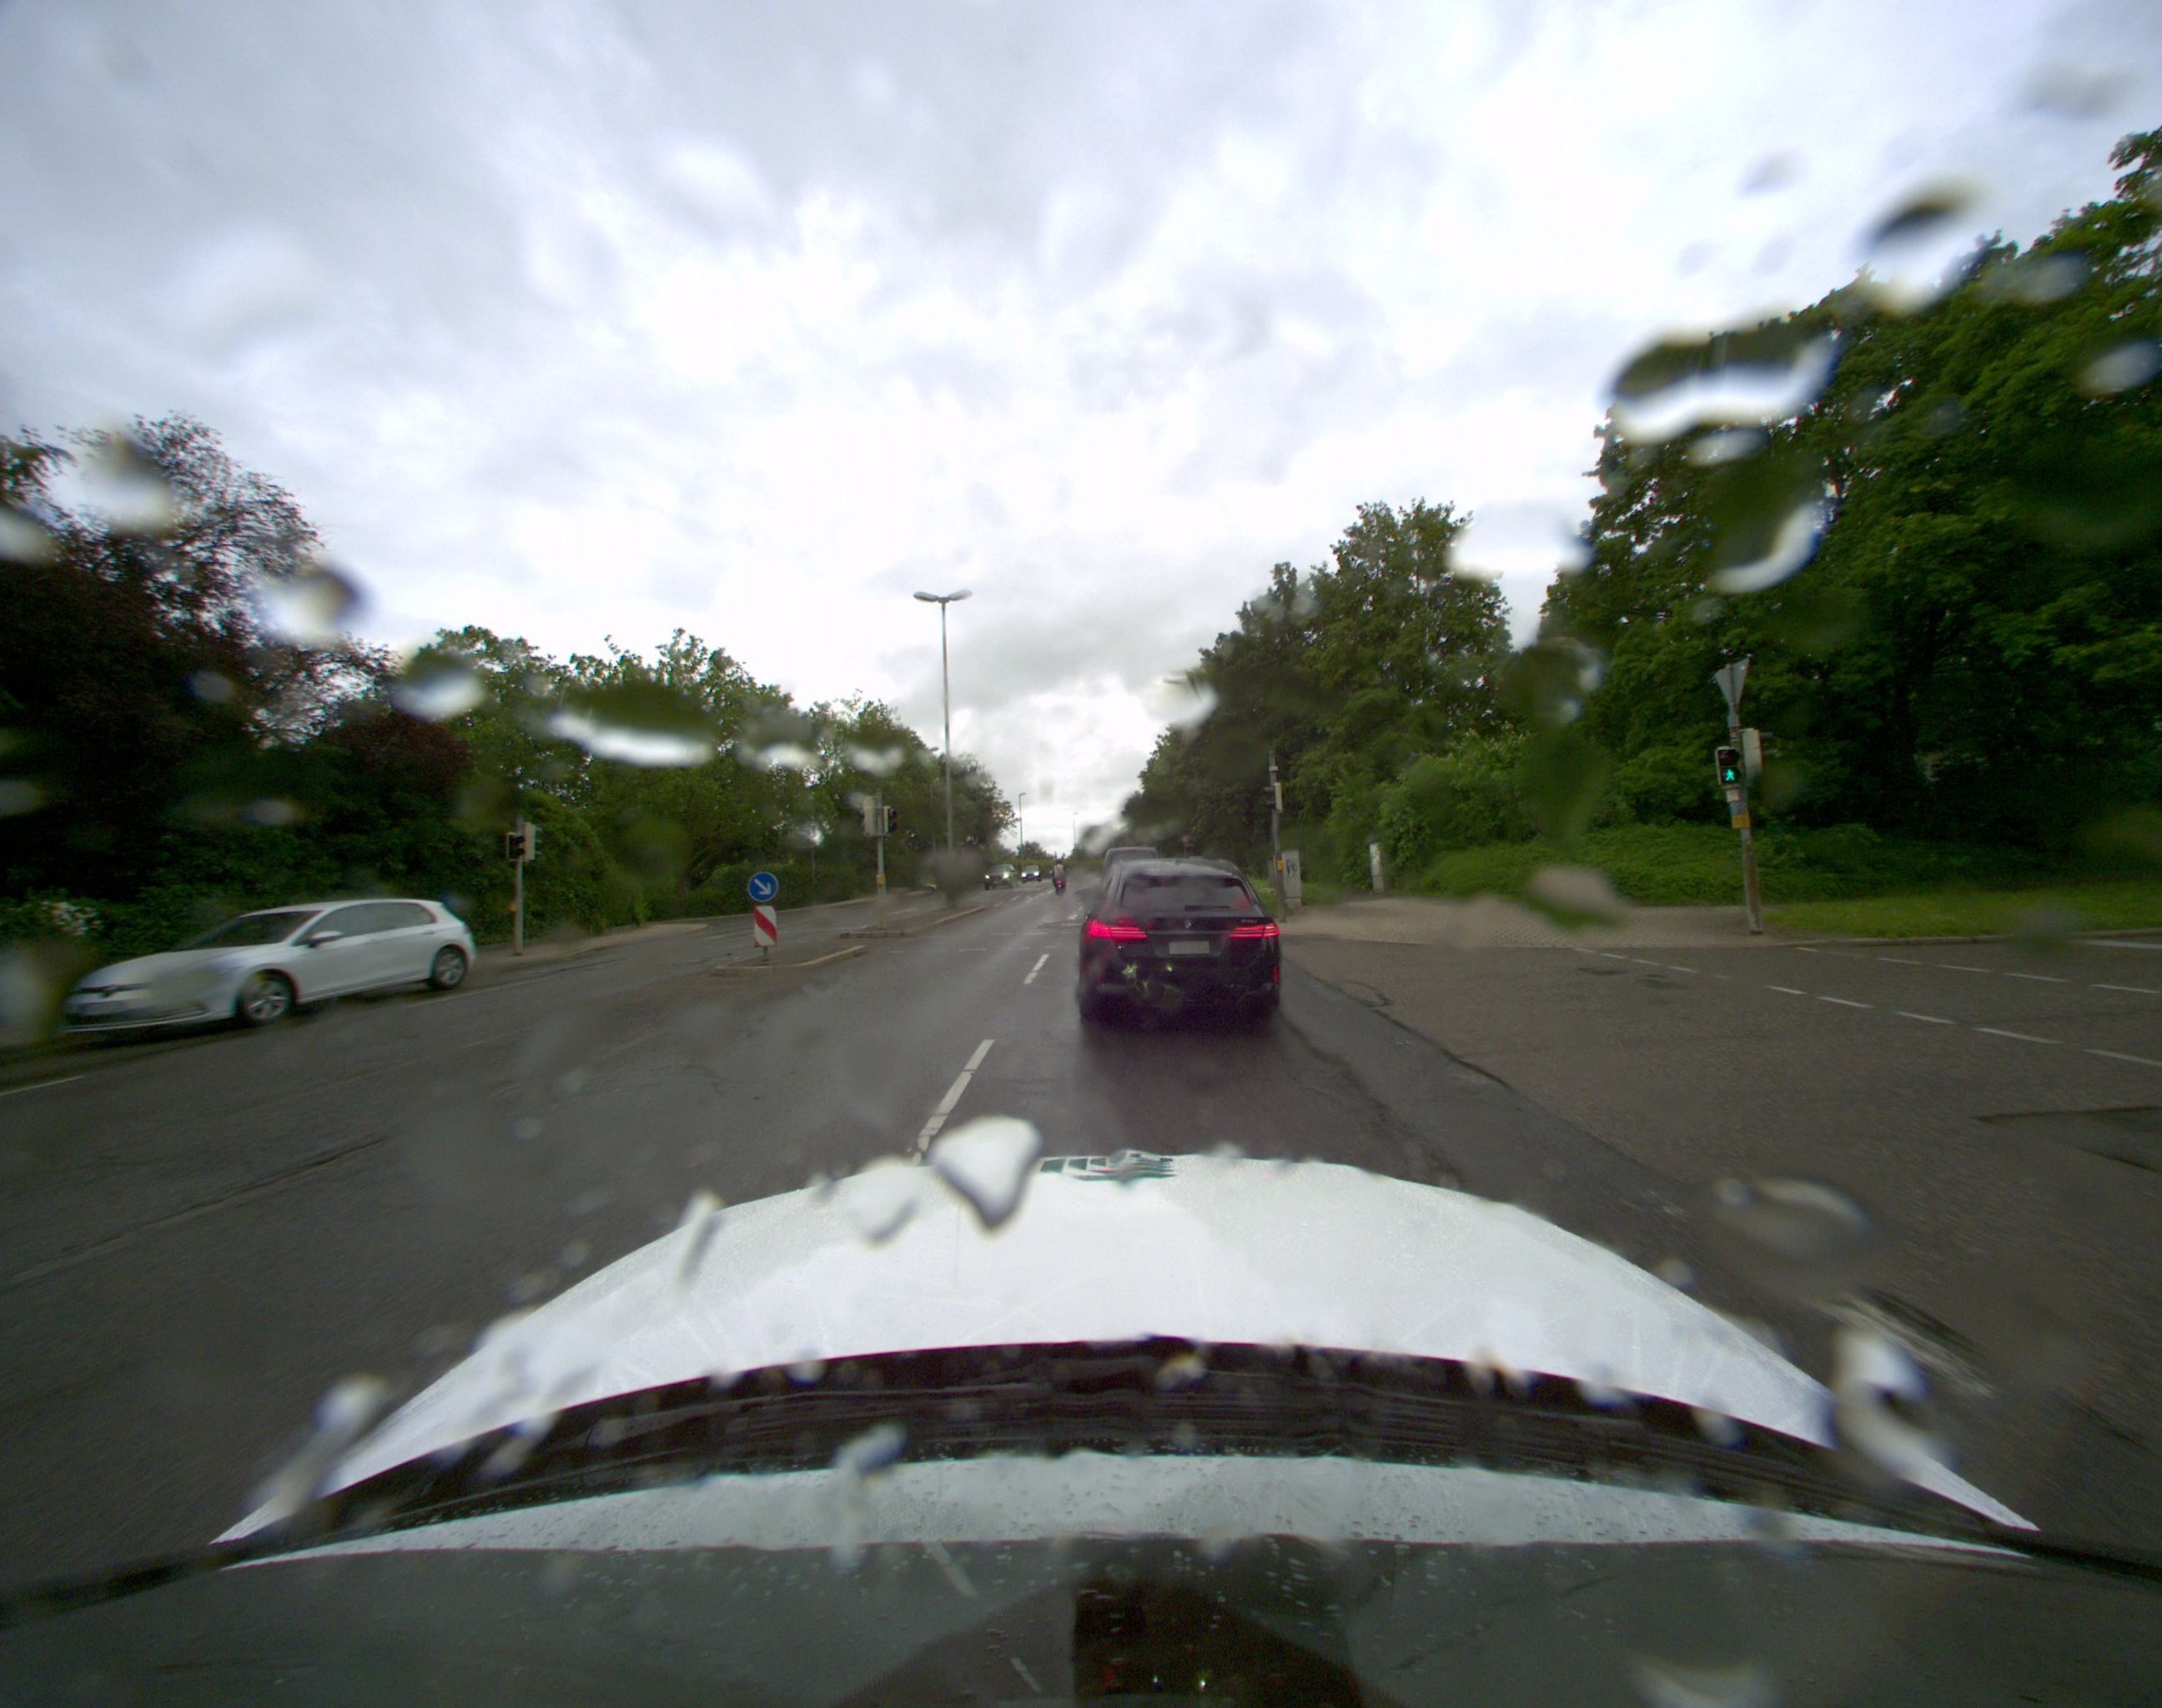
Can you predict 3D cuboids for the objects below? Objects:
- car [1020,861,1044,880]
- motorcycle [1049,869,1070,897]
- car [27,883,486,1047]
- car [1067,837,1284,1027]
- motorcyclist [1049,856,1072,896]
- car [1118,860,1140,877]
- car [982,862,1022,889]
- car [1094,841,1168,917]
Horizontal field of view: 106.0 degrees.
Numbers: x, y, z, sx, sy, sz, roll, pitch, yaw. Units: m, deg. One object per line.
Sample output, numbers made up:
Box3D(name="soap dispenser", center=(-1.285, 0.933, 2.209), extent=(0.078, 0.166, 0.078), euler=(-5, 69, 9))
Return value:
Box3D(name="car", center=(-4.636, 1.574, 77.277), extent=(1.788, 1.603, 3.733), euler=(-4, -1, 1))
Box3D(name="motorcycle", center=(-0.893, 1.225, 34.669), extent=(0.738, 1.119, 1.428), euler=(-2, 0, 3))
Box3D(name="car", center=(-10.483, 1.284, 10.928), extent=(1.721, 1.485, 4.159), euler=(-5, 0, 2))
Box3D(name="car", center=(0.888, 0.665, 8.644), extent=(1.757, 1.536, 3.676), euler=(-2, 0, 3))
Box3D(name="motorcyclist", center=(-0.869, 0.949, 34.731), extent=(0.842, 1.647, 0.468), euler=(-3, 0, 3))
Box3D(name="car", center=(4.674, 1.384, 79.572), extent=(2.006, 1.415, 4.490), euler=(-2, 1, 3))
Box3D(name="car", center=(-5.120, 1.350, 53.178), extent=(2.017, 1.563, 3.879), euler=(-4, -1, 2))
Box3D(name="car", center=(1.352, 0.603, 22.053), extent=(1.759, 1.810, 3.909), euler=(-2, 1, 3))
